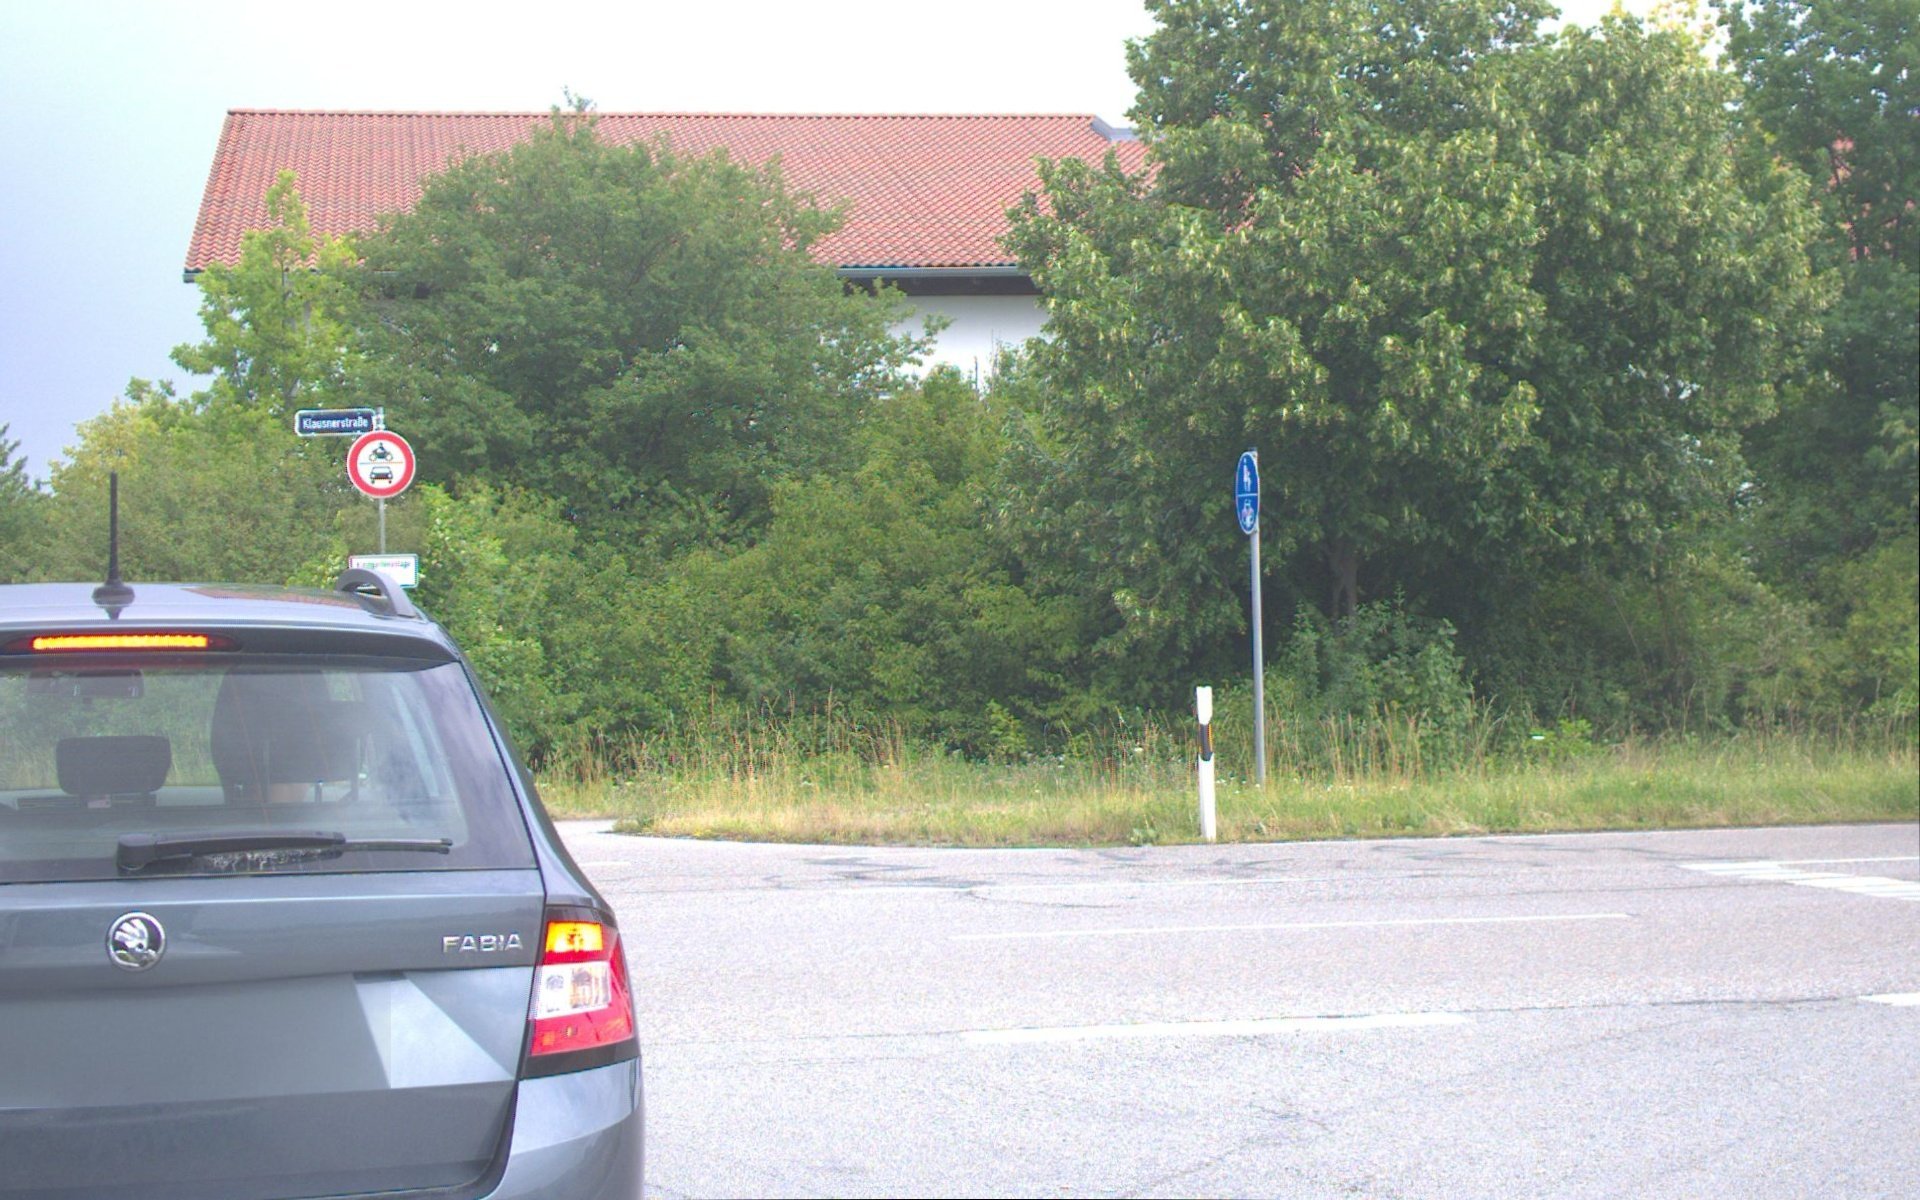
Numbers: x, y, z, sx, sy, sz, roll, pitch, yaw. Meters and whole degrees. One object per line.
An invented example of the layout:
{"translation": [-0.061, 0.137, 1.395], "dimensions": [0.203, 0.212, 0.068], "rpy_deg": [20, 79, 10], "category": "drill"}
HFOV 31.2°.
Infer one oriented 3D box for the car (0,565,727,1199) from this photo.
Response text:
{"translation": [-1.671, 0.701, 6.407], "dimensions": [1.676, 1.458, 3.708], "rpy_deg": [-1, 0, -17], "category": "car"}
